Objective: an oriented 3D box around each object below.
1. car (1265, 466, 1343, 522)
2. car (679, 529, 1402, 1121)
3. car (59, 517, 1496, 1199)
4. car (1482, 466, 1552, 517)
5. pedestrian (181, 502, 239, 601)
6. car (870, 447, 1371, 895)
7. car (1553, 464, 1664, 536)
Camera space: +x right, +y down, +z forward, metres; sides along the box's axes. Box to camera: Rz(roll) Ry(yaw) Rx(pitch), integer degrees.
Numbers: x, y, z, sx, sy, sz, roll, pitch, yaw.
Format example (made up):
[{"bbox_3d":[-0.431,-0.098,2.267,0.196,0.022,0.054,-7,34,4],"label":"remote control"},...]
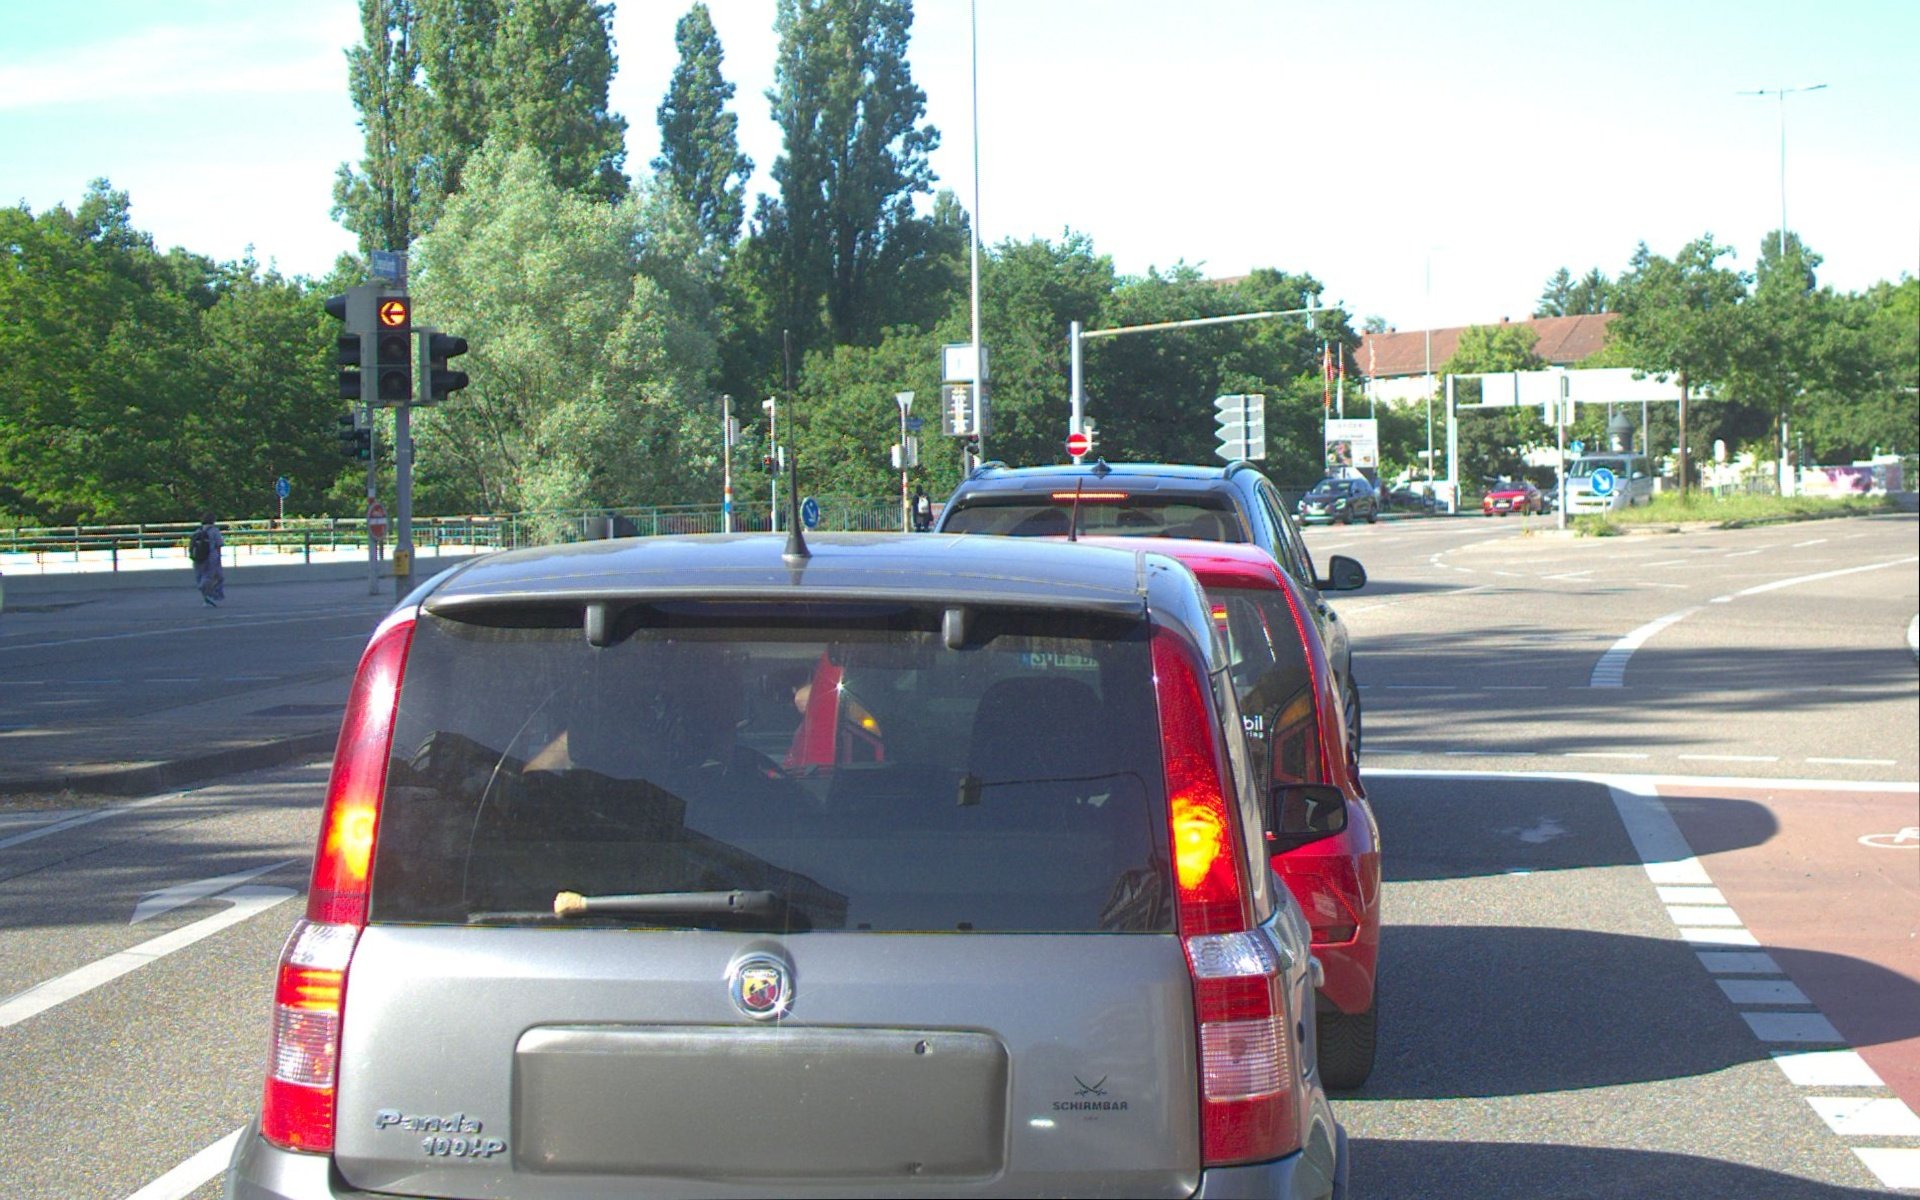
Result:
[{"bbox_3d":[12.436,-3.803,124.102,2.014,1.848,4.427,0,-1,17],"label":"car"},{"bbox_3d":[0.280,0.528,10.743,1.820,1.474,4.000,1,1,2],"label":"car"},{"bbox_3d":[-0.144,0.620,6.386,1.820,1.484,4.000,2,2,3],"label":"car"},{"bbox_3d":[22.297,-4.312,137.448,2.015,1.848,4.881,0,-1,19],"label":"car"},{"bbox_3d":[-12.231,-0.782,56.058,0.686,1.533,1.366,0,-3,-3],"label":"pedestrian"},{"bbox_3d":[0.898,0.208,16.118,1.869,1.784,4.413,1,2,9],"label":"car"},{"bbox_3d":[18.442,-2.805,97.626,2.015,1.848,4.880,0,-1,24],"label":"car"}]
